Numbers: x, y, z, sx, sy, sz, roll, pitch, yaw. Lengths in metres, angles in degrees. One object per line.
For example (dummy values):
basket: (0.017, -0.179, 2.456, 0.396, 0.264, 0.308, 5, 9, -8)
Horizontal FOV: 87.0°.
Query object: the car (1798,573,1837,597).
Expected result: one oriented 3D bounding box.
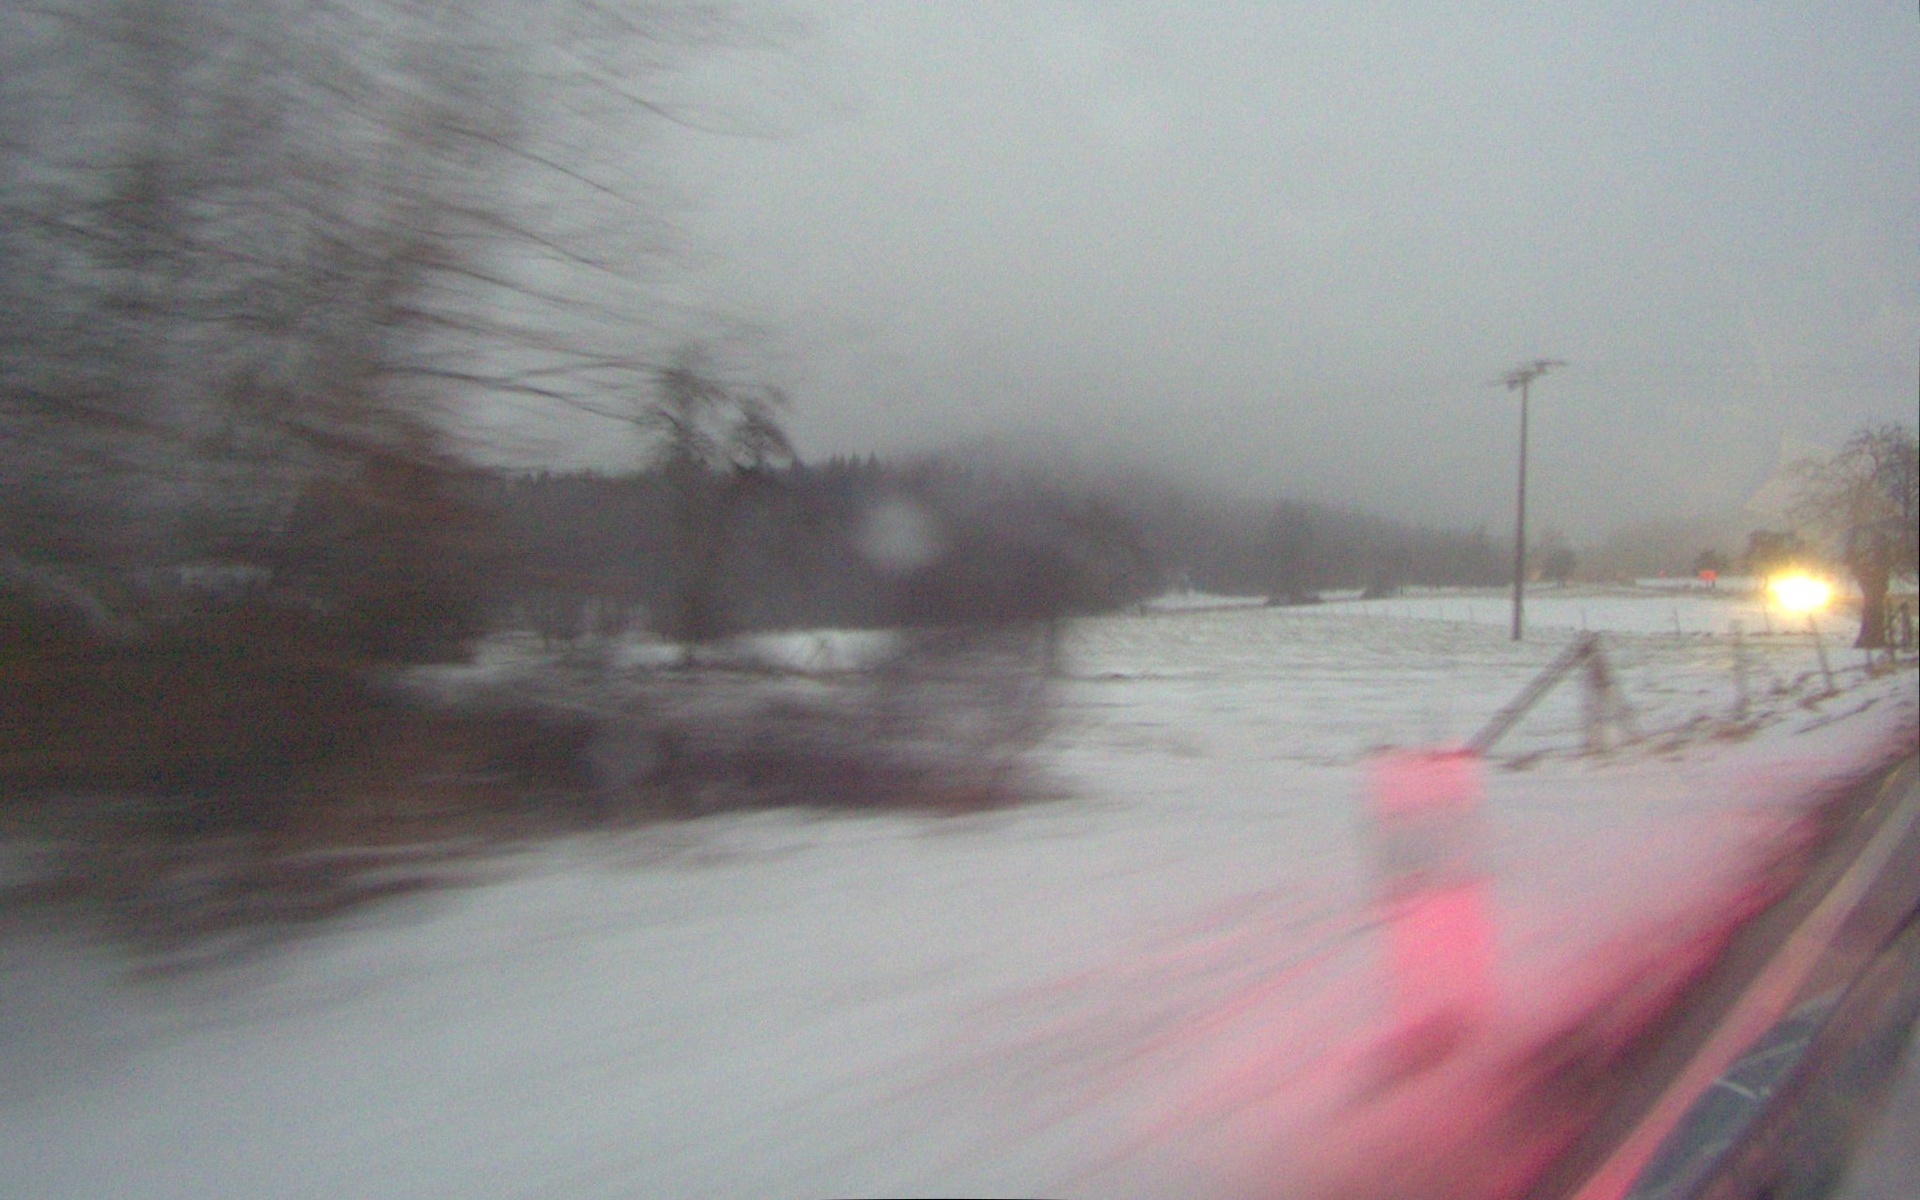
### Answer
car: (78.662, -1.382, 92.897, 1.983, 2.039, 3.959, -3, 1, 30)
